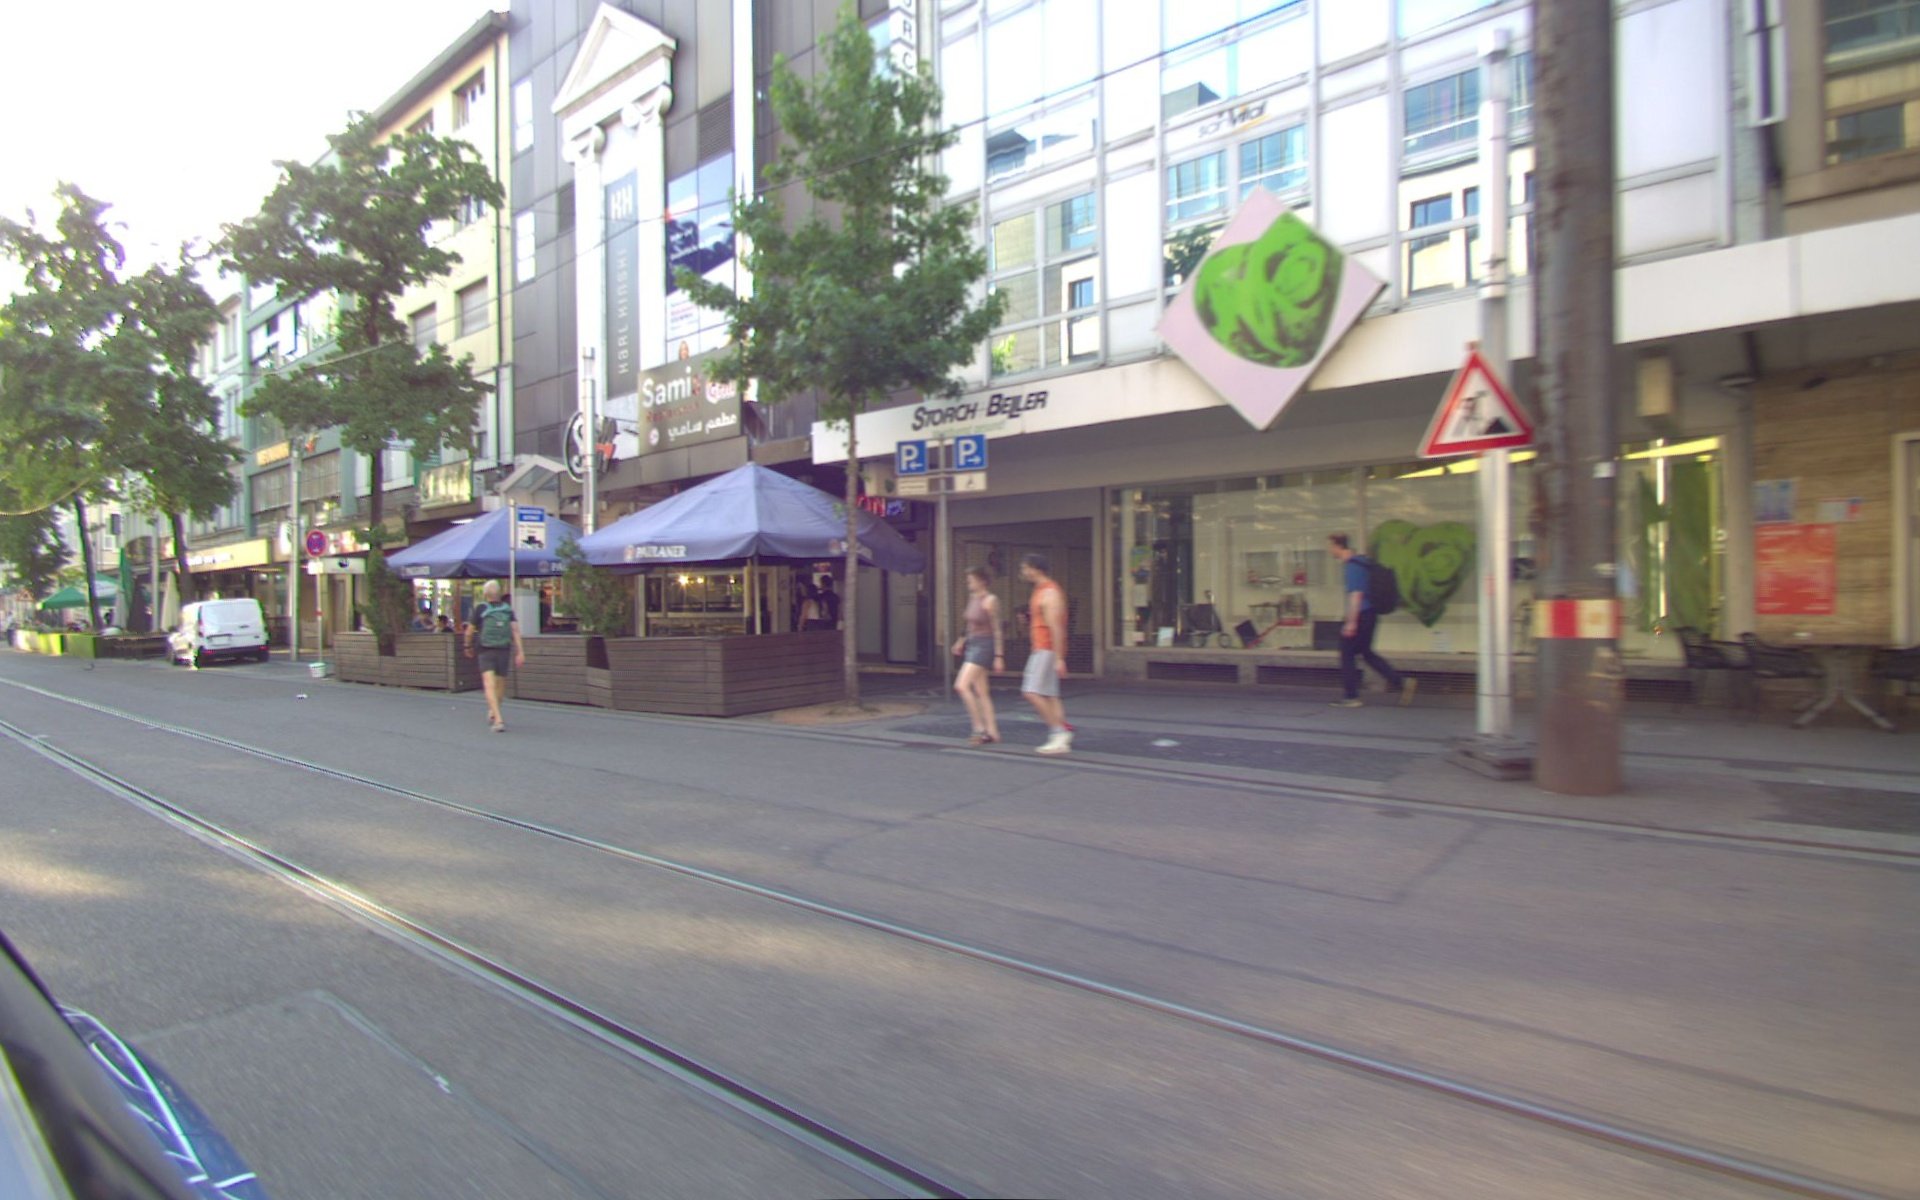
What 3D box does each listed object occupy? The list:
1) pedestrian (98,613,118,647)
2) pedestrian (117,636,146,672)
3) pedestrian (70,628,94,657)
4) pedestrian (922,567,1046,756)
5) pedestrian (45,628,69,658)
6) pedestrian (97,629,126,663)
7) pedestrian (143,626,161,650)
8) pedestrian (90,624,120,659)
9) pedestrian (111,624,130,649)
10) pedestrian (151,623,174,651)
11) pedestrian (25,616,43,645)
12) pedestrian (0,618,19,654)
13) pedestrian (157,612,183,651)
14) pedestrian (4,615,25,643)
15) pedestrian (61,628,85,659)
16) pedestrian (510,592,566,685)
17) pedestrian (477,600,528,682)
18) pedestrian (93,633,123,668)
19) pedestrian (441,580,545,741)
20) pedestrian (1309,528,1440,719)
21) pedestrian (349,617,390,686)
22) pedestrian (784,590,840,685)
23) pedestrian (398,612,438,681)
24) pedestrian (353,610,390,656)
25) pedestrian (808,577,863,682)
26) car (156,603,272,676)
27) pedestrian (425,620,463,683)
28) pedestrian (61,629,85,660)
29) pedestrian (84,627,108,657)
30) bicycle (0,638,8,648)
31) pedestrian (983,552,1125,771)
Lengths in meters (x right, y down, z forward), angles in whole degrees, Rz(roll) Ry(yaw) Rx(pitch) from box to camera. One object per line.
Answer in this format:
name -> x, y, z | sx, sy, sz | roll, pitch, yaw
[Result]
pedestrian -> -46.197, 1.608, 54.870 | 0.675, 1.829, 0.766 | -2, 1, -34
pedestrian -> -31.940, 2.065, 39.022 | 0.797, 1.303, 0.650 | -2, 2, 40
pedestrian -> -39.710, 1.902, 45.773 | 0.869, 1.269, 0.700 | -1, 1, 43
pedestrian -> 0.218, 0.540, 9.483 | 0.837, 1.650, 0.764 | -2, 1, -29
pedestrian -> -40.273, 1.910, 45.121 | 0.772, 1.269, 0.700 | -1, 1, 43
pedestrian -> -31.873, 1.728, 38.025 | 0.797, 1.202, 0.650 | -2, 2, 40
pedestrian -> -39.327, 1.844, 49.277 | 0.686, 1.170, 0.546 | -1, 1, 41
pedestrian -> -34.467, 1.669, 40.796 | 0.872, 1.353, 0.747 | -2, 2, 40
pedestrian -> -44.743, 1.918, 53.940 | 0.727, 1.291, 0.620 | -1, 1, 41
pedestrian -> -36.902, 1.699, 46.843 | 0.798, 1.251, 0.663 | -2, 1, 40
pedestrian -> -61.229, 2.012, 66.928 | 0.875, 1.826, 0.712 | -1, 2, 40
pedestrian -> -49.762, 1.877, 52.869 | 0.686, 1.805, 0.749 | -2, 1, 41
pedestrian -> -32.854, 1.313, 42.073 | 0.700, 1.586, 0.641 | -2, 2, 40
pedestrian -> -62.168, 1.909, 66.535 | 0.884, 1.795, 0.857 | -1, 2, 40
pedestrian -> -37.944, 1.841, 43.272 | 0.696, 1.254, 0.613 | -2, 2, 40
pedestrian -> -8.093, 0.728, 19.411 | 0.675, 1.737, 0.710 | -2, 0, 39
pedestrian -> -9.364, 0.830, 20.713 | 0.719, 1.619, 0.666 | -2, 0, 40
pedestrian -> -32.428, 1.927, 38.520 | 0.872, 1.253, 0.650 | -1, 2, 40
pedestrian -> -5.582, 0.691, 12.110 | 0.790, 1.814, 0.832 | -2, 1, 42
pedestrian -> 4.458, 0.236, 10.872 | 1.070, 1.937, 0.793 | -2, 1, 38
pedestrian -> -12.159, 1.049, 20.830 | 0.582, 1.366, 0.544 | -2, 0, 40
pedestrian -> -2.496, 0.617, 17.030 | 0.671, 1.544, 0.591 | -2, 1, 41
pedestrian -> -11.517, 0.979, 21.514 | 0.582, 1.440, 0.544 | -2, 0, 40
pedestrian -> -19.532, 1.082, 33.570 | 0.764, 1.477, 0.762 | -1, 2, 38
pedestrian -> -2.156, 0.500, 17.512 | 0.671, 1.758, 0.591 | -2, 1, 41
car -> -21.895, 1.112, 29.635 | 4.552, 1.878, 1.777 | -2, 2, 42
pedestrian -> -10.527, 1.038, 20.652 | 0.535, 1.237, 0.490 | -2, 0, 40
pedestrian -> -37.218, 1.848, 42.461 | 0.696, 1.254, 0.613 | -2, 2, 40
pedestrian -> -36.801, 1.780, 43.107 | 0.696, 1.254, 0.613 | -2, 2, 40
bicycle -> -62.164, 2.766, 64.736 | 1.282, 0.613, 1.775 | -2, 1, 44
pedestrian -> 0.798, 0.488, 8.732 | 0.838, 1.754, 0.837 | -2, 1, -29
